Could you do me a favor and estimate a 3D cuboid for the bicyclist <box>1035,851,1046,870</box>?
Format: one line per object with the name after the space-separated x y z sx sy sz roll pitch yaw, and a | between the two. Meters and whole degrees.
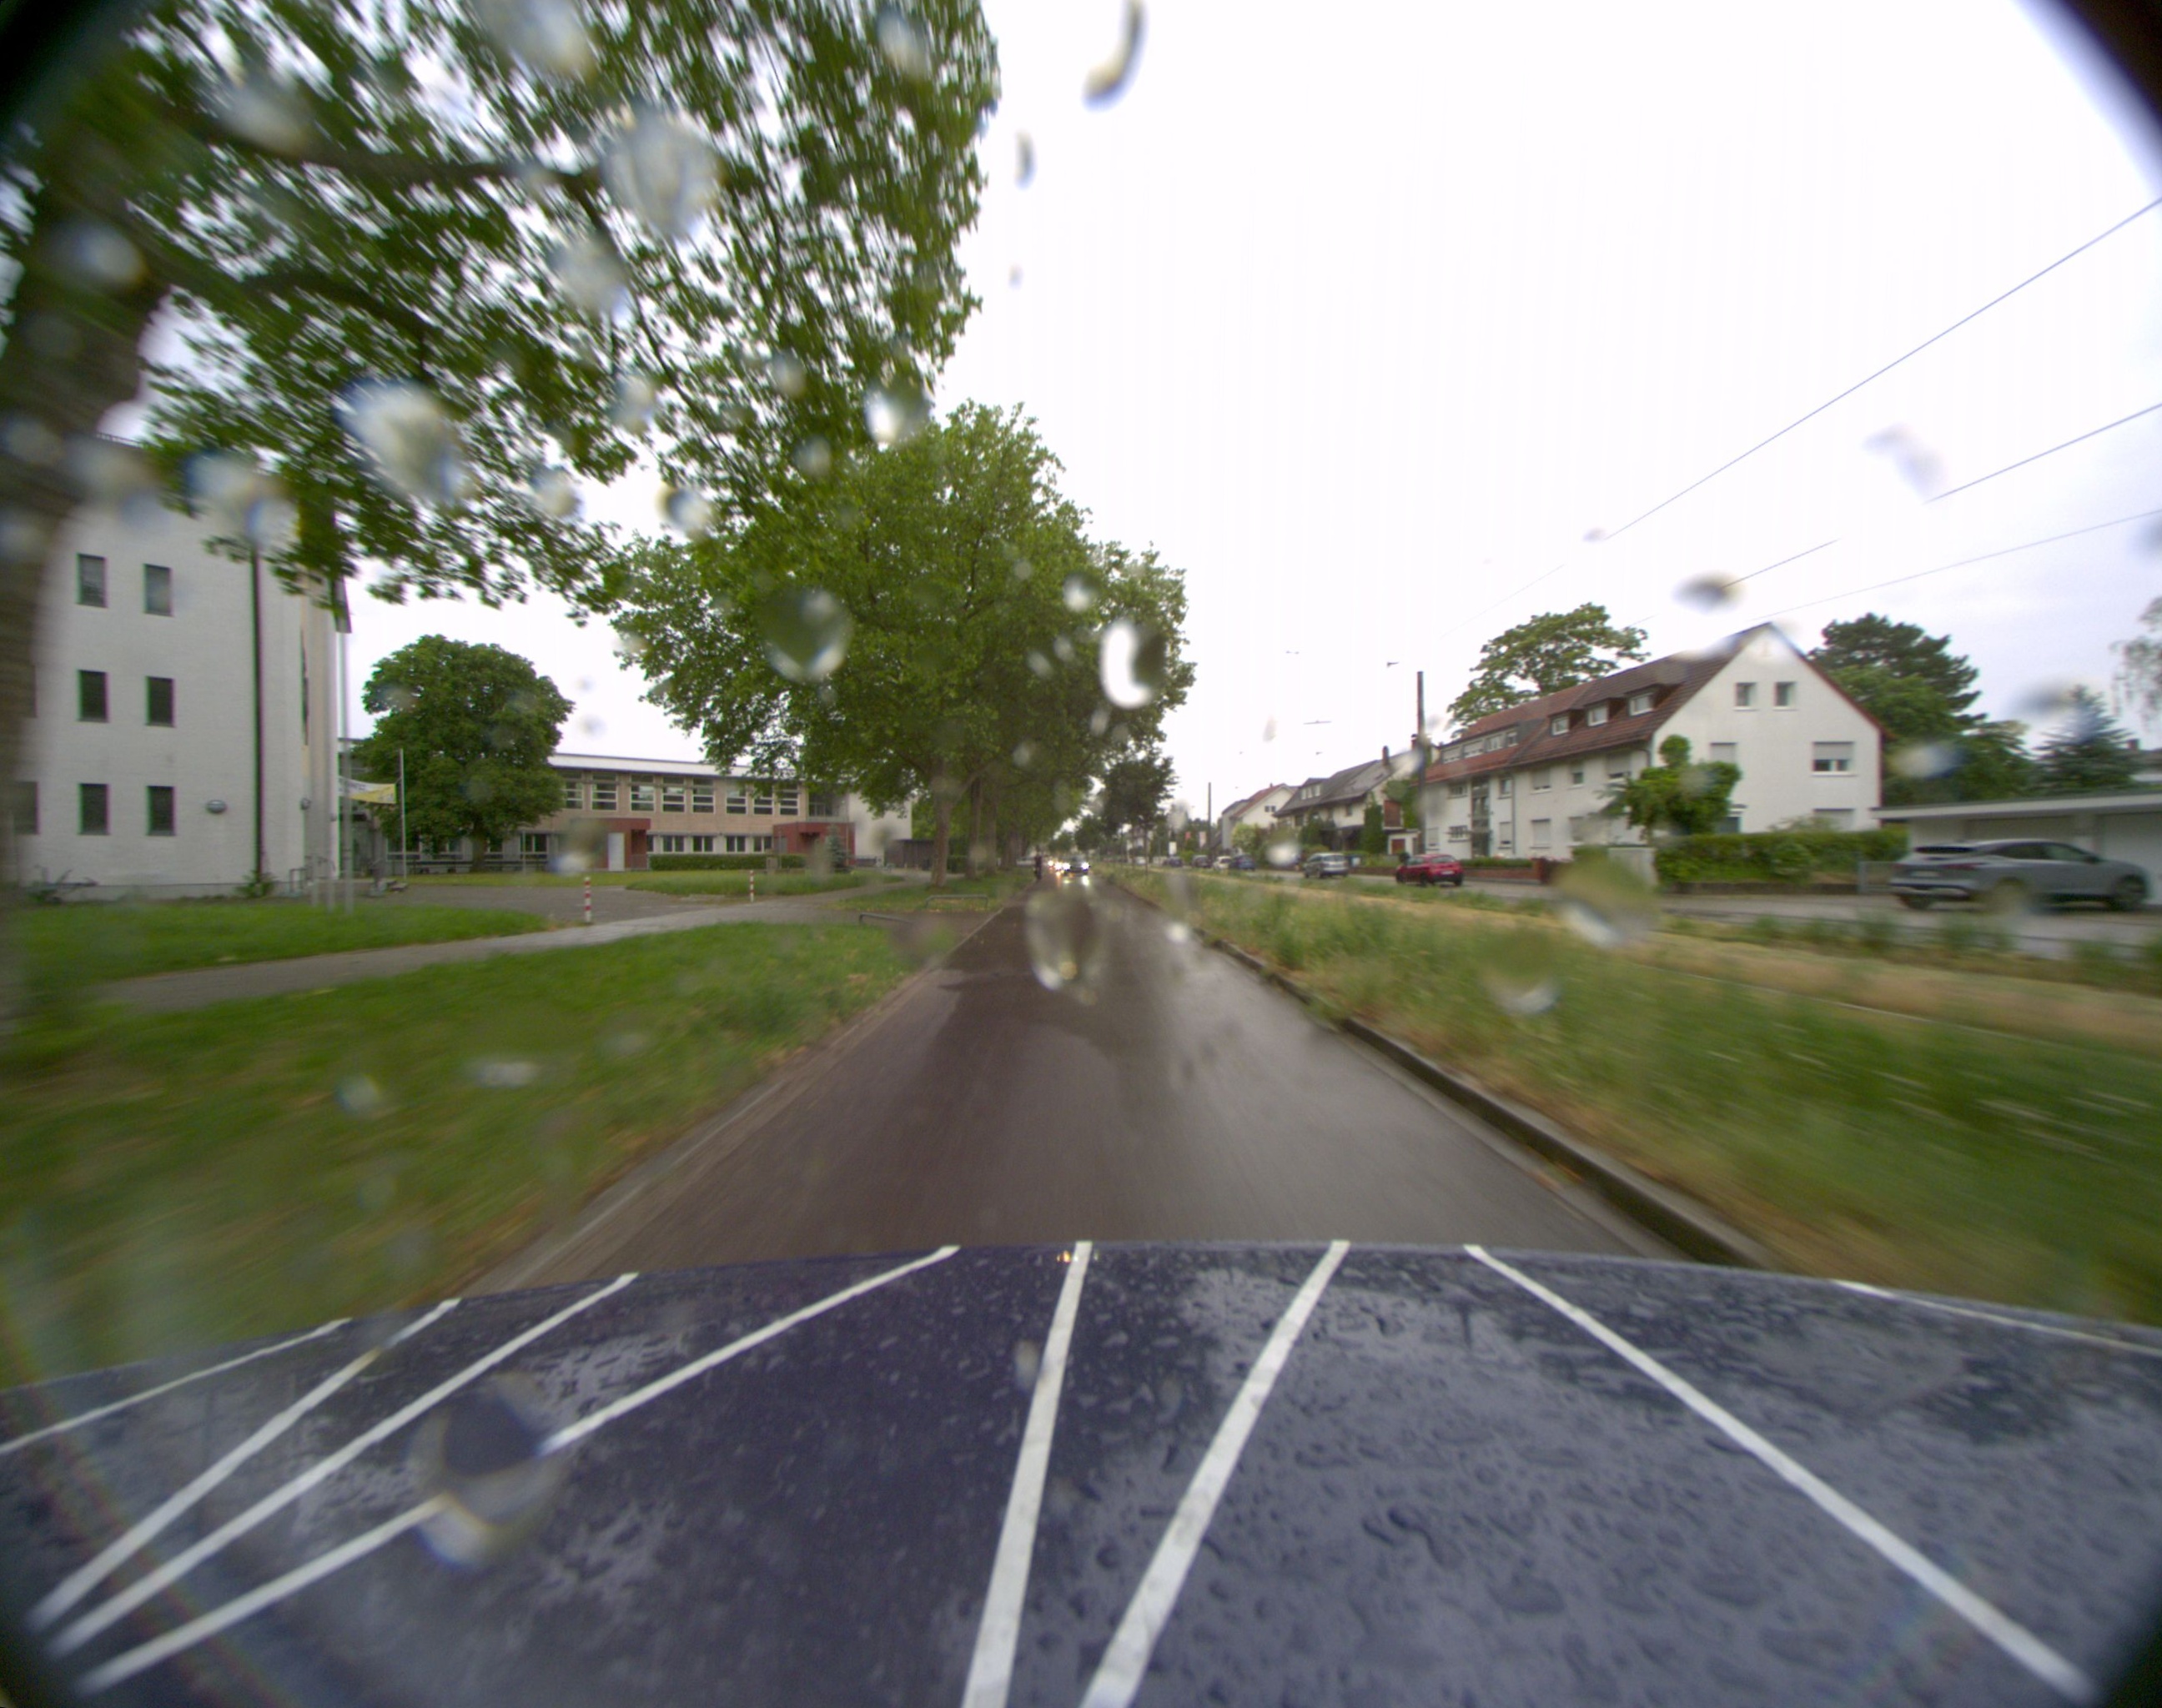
-2.300 0.370 43.143 0.622 1.078 0.624 0 1 -2 | bicyclist

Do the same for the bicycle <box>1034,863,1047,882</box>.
-2.299 1.031 43.152 0.659 1.008 2.256 0 1 -2 | bicycle

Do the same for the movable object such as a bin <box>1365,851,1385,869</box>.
22.311 0.465 57.685 1.257 1.290 0.739 -2 1 0 | movable object such as a bin

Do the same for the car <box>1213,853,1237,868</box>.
15.059 0.672 79.724 1.718 1.520 3.600 -3 0 -2 | car

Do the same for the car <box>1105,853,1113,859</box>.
7.446 0.584 202.349 1.759 1.507 3.853 -3 0 -1 | car

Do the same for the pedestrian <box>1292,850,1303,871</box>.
18.035 0.553 63.271 0.600 1.757 0.869 -2 1 -1 | pedestrian

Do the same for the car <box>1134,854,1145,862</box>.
11.270 0.715 146.983 1.759 1.507 3.853 -3 0 -1 | car

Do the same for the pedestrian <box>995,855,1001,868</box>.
-9.914 0.931 90.821 0.748 1.529 0.585 0 1 -2 | pedestrian

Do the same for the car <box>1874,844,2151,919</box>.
20.762 0.582 17.060 3.998 1.567 1.892 0 0 -2 | car

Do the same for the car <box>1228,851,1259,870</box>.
15.486 0.623 72.723 1.849 1.696 4.181 -2 0 -2 | car

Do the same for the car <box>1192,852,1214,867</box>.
14.615 0.667 91.138 1.759 1.604 4.110 -3 0 -1 | car

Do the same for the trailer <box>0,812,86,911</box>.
-26.719 0.175 17.655 4.029 2.295 1.887 0 0 -40 | trailer

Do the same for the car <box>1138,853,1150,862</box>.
11.731 0.694 142.451 1.759 1.507 3.853 -3 0 -1 | car

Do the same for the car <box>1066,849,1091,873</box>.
-0.251 0.518 58.701 1.767 1.715 3.934 -2 0 -1 | car

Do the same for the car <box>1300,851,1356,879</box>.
15.844 0.668 49.011 1.998 1.604 4.683 -2 0 0 | car

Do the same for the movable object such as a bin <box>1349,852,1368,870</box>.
21.075 0.515 57.713 1.187 1.290 0.739 -2 1 0 | movable object such as a bin

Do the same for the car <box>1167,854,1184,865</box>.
13.474 0.735 108.855 1.759 1.507 3.853 -3 0 -1 | car

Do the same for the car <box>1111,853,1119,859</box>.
8.477 0.530 190.590 1.759 1.507 3.853 -3 0 -1 | car

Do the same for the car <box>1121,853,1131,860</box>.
10.019 0.576 169.573 1.759 1.507 3.853 -3 0 -1 | car

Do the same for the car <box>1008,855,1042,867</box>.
-7.186 0.869 97.512 4.021 1.478 1.636 0 0 -21 | car

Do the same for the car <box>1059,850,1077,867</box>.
-1.416 0.477 79.699 1.768 1.715 3.933 -1 1 -2 | car

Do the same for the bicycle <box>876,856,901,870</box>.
-15.258 0.703 60.222 0.519 1.115 1.942 3 1 42 | bicycle

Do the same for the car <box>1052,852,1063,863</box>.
-3.735 0.560 120.910 1.768 1.715 3.932 0 1 -3 | car

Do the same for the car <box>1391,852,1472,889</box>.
16.251 0.709 35.464 1.846 1.538 3.972 -3 0 0 | car
